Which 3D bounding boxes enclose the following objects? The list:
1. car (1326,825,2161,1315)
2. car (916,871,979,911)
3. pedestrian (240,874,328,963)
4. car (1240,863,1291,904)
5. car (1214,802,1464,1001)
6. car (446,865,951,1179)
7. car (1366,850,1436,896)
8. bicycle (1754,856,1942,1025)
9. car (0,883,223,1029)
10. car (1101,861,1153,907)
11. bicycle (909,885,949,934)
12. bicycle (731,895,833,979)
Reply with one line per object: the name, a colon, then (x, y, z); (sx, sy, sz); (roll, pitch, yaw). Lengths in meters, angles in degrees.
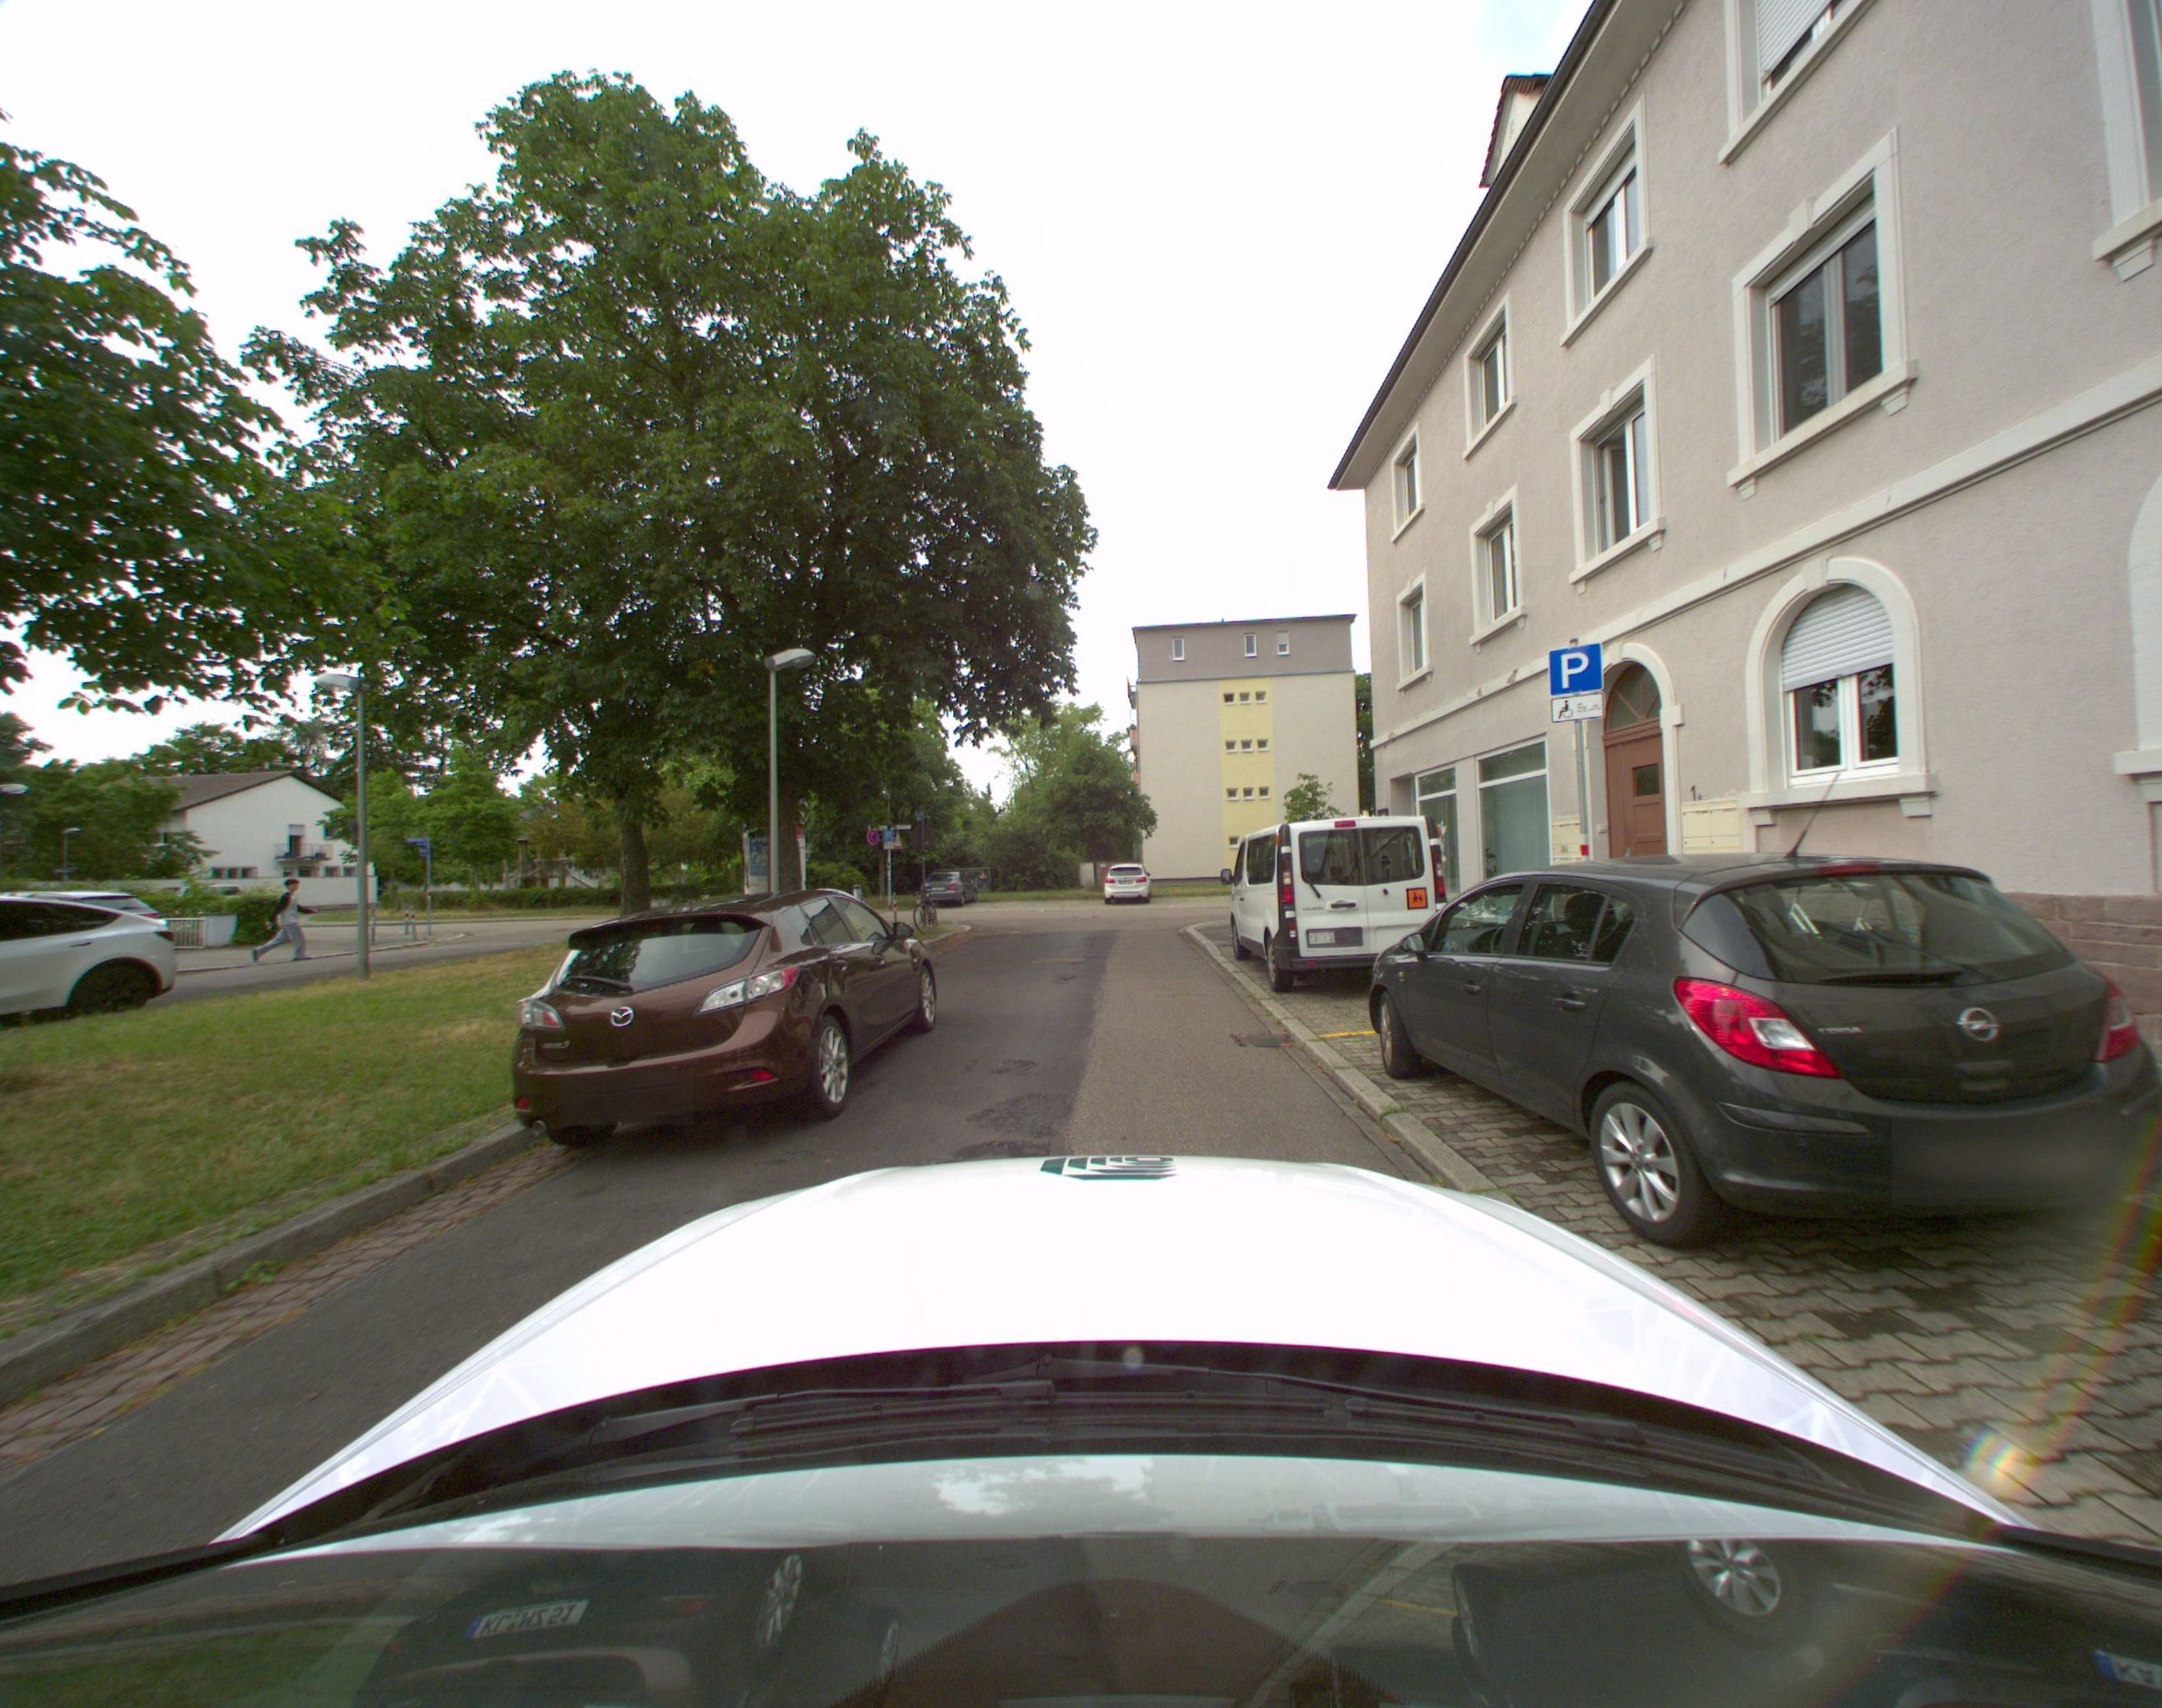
car: (2.889, 0.715, 4.595); (1.683, 1.454, 3.899); (-4, -1, -1)
car: (-5.541, 1.511, 34.377); (1.668, 1.454, 4.563); (-2, 0, 3)
pedestrian: (-17.483, 1.393, 17.902); (1.224, 1.836, 0.869); (-1, -2, -34)
car: (7.521, 1.176, 33.539); (1.823, 1.463, 4.574); (-2, 0, 11)
car: (3.121, 0.529, 11.082); (1.871, 1.996, 5.015); (-3, -1, 2)
car: (-2.354, 0.911, 6.364); (1.704, 1.458, 4.164); (-7, -1, 2)
car: (12.893, 0.704, 33.078); (1.898, 1.697, 4.081); (-2, 0, 11)
bicycle: (5.899, 0.625, 6.338); (0.318, 1.182, 1.156); (-2, -1, 0)
car: (-12.951, 1.184, 8.886); (1.889, 1.566, 4.885); (-2, -1, 2)
car: (1.962, 1.181, 33.647); (1.868, 1.560, 4.158); (-1, 2, 7)
bicycle: (-3.444, 1.238, 18.636); (0.509, 0.985, 2.182); (0, -1, 0)
bicycle: (-4.358, 1.180, 12.035); (0.663, 1.066, 1.887); (-2, -1, 4)
